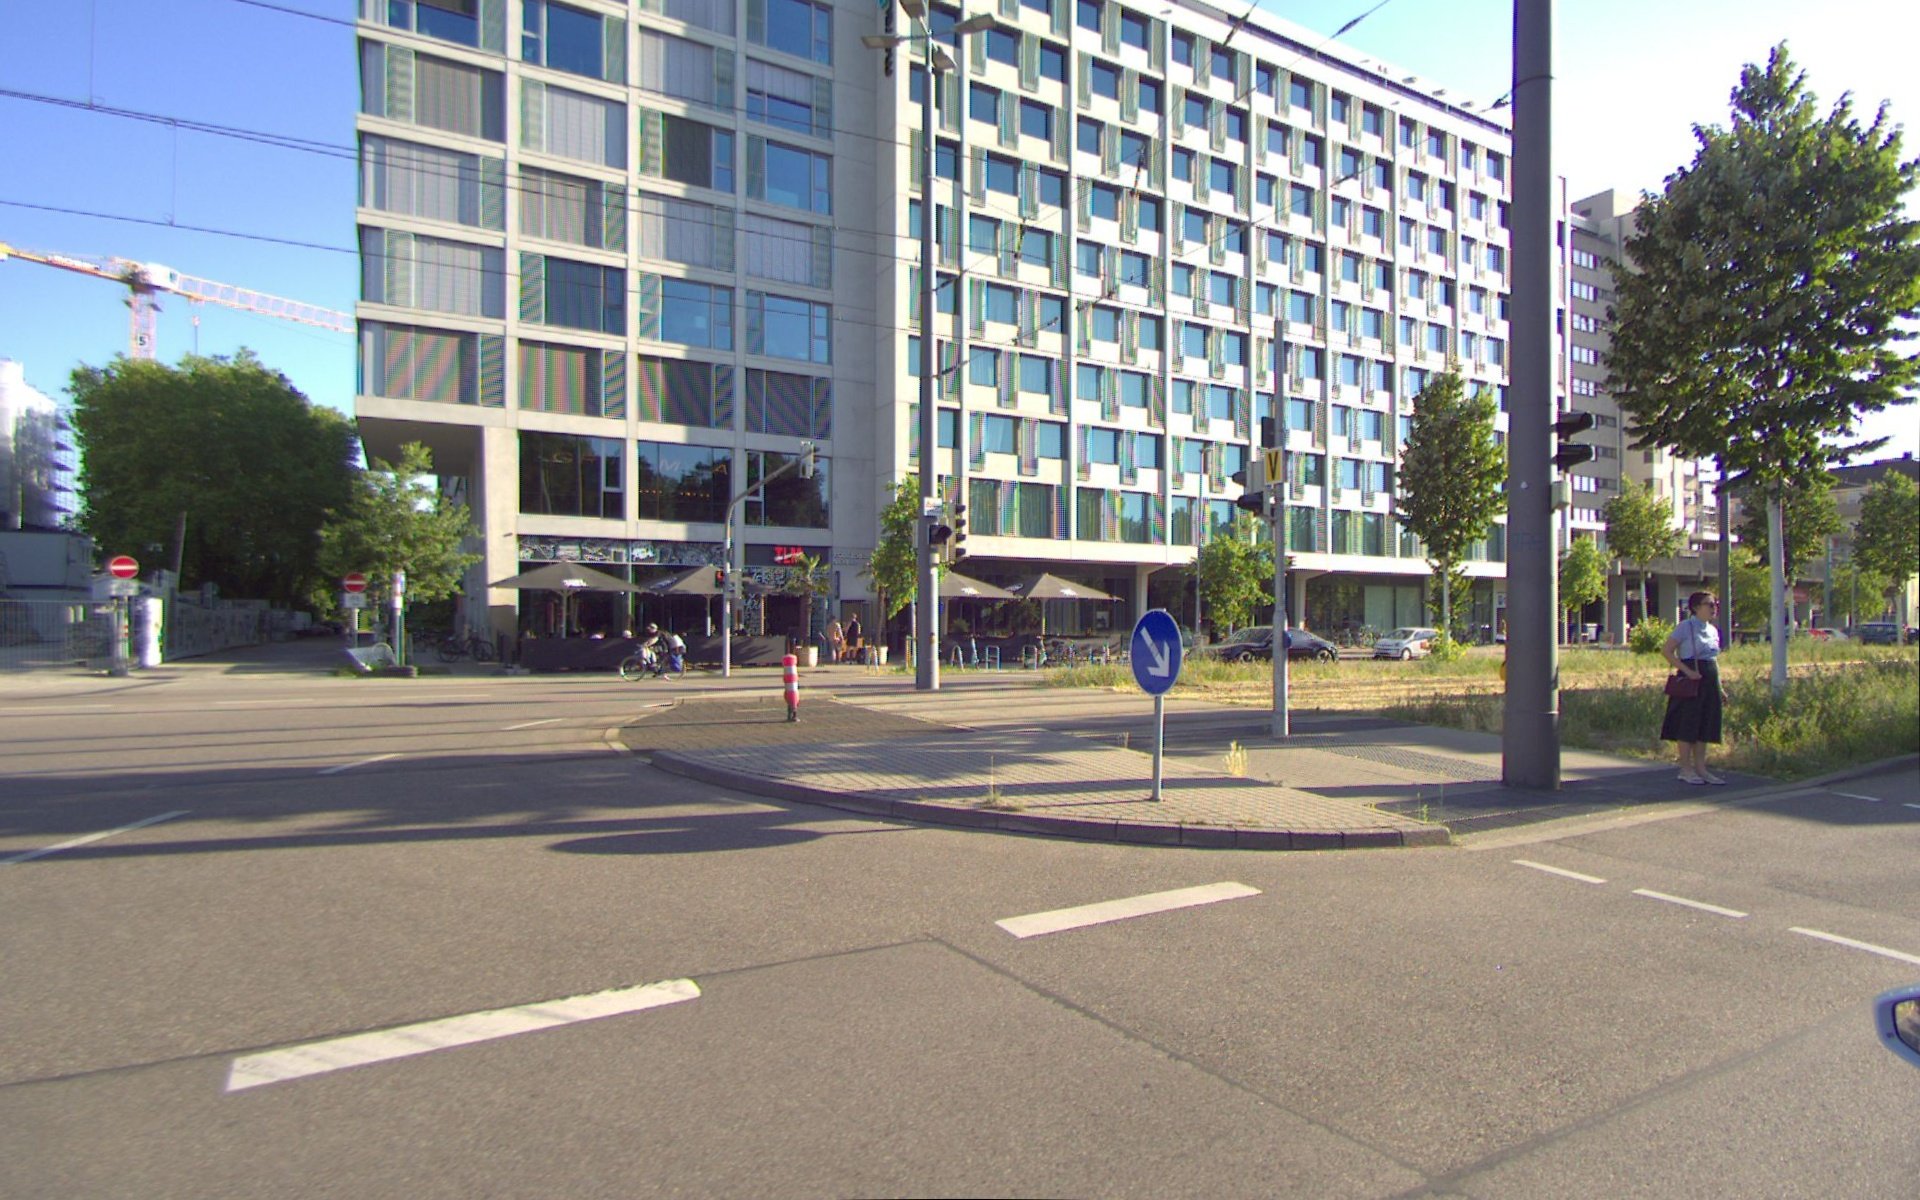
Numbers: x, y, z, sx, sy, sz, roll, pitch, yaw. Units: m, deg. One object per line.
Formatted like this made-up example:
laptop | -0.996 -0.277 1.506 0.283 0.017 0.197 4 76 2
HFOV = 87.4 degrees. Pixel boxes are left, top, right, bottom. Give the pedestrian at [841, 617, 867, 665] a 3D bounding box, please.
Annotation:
pedestrian | -3.916 1.516 37.135 0.791 1.744 0.868 0 -1 -20

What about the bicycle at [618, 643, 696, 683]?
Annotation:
bicycle | -8.693 1.787 28.870 2.053 1.081 0.622 1 -1 -29

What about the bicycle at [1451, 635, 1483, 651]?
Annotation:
bicycle | 31.001 2.617 61.424 0.506 0.917 1.794 1 -1 -32

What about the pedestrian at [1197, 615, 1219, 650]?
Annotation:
pedestrian | 13.474 1.758 54.621 0.960 1.895 0.972 0 -1 0

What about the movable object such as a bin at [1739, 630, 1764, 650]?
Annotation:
movable object such as a bin | 50.388 2.541 63.969 0.924 1.297 0.858 0 -1 -15

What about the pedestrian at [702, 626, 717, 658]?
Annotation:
pedestrian | -9.726 1.623 39.023 0.491 1.238 0.430 1 -1 -29

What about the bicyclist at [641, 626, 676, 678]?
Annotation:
bicyclist | -8.681 1.484 28.891 0.841 1.484 0.622 1 -1 -29

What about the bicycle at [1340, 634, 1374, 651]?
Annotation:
bicycle | 22.379 2.371 56.666 0.507 0.917 1.792 1 -1 -35

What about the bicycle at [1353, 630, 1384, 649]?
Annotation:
bicycle | 23.353 2.256 57.464 0.477 0.979 1.743 1 0 -30

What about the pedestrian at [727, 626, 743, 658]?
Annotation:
pedestrian | -8.844 1.637 39.499 0.491 1.238 0.430 1 -1 -29

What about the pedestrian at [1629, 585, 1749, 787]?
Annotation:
pedestrian | 6.533 0.746 9.014 0.704 1.722 0.597 1 -1 -24

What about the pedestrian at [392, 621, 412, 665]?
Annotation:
pedestrian | -19.814 1.516 35.644 0.571 1.518 0.583 1 -1 -33

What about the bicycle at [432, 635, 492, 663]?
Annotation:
bicycle | -17.542 1.724 35.410 1.879 0.948 0.533 1 -1 -31

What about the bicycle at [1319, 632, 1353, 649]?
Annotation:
bicycle | 20.963 2.235 56.005 0.507 0.917 1.792 1 -1 -35

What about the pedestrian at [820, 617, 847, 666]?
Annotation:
pedestrian | -4.632 1.505 36.808 0.791 1.744 0.868 0 -1 -20

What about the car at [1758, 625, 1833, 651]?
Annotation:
car | 57.471 2.597 69.151 3.554 1.543 1.621 2 0 20

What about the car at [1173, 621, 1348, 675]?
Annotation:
car | 8.304 1.275 27.612 4.793 1.361 1.882 1 -1 -31

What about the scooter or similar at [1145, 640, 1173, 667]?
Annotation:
scooter or similar | 7.878 2.091 39.771 0.429 1.033 1.238 1 -1 -28

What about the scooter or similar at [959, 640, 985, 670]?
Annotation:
scooter or similar | 0.423 1.958 35.969 0.401 1.019 1.238 1 -1 -28

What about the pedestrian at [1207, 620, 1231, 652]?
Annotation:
pedestrian | 13.759 1.921 53.386 1.038 1.692 0.979 0 -1 0

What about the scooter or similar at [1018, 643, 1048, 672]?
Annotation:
scooter or similar | 2.665 2.108 36.804 0.504 1.033 1.238 1 -1 -28

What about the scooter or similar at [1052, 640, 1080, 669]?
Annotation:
scooter or similar | 3.957 2.030 37.585 0.429 1.033 1.238 1 -1 -28

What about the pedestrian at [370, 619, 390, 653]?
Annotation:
pedestrian | -26.942 1.670 46.671 0.694 1.555 0.580 1 -1 -23

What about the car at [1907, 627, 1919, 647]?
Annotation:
car | 78.164 2.974 79.666 3.921 1.584 2.000 1 0 19

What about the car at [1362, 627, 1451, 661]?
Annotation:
car | 21.086 2.057 47.411 3.824 1.512 1.878 1 0 -28

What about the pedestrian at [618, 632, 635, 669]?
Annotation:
pedestrian | -11.007 1.662 33.149 0.428 1.209 0.362 1 -1 -32

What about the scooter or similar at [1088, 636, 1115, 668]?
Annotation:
scooter or similar | 5.454 1.997 38.811 0.401 1.187 1.238 1 -1 -28

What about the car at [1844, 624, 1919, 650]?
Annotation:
car | 69.121 2.759 75.393 3.685 1.853 1.824 1 0 21

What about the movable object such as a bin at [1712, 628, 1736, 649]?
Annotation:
movable object such as a bin | 49.449 2.493 65.021 0.924 1.375 0.858 0 -1 -15

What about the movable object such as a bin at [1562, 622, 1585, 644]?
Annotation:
movable object such as a bin | 42.144 2.276 69.026 1.386 1.459 0.796 1 -1 -30

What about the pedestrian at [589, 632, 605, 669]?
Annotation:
pedestrian | -11.957 1.648 33.098 0.428 1.209 0.362 1 -1 -32

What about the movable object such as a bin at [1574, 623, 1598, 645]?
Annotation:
movable object such as a bin | 42.560 2.281 68.263 1.386 1.459 0.796 1 -1 -30

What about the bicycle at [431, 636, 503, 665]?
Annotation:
bicycle | -16.984 1.732 34.645 2.190 0.948 0.615 1 -1 -31

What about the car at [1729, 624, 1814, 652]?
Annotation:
car | 54.373 2.525 67.382 4.015 1.622 1.750 2 1 20

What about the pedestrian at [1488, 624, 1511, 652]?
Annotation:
pedestrian | 32.560 2.266 60.584 0.958 1.675 0.840 1 -1 -28

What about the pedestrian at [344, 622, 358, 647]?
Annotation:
pedestrian | -38.258 2.167 63.125 0.701 1.568 0.674 1 -1 -27

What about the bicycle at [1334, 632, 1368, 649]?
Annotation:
bicycle | 21.886 2.277 56.248 0.507 0.917 1.792 1 -1 -35

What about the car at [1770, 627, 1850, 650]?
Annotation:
car | 59.818 2.704 70.732 3.919 1.472 1.788 1 0 13
